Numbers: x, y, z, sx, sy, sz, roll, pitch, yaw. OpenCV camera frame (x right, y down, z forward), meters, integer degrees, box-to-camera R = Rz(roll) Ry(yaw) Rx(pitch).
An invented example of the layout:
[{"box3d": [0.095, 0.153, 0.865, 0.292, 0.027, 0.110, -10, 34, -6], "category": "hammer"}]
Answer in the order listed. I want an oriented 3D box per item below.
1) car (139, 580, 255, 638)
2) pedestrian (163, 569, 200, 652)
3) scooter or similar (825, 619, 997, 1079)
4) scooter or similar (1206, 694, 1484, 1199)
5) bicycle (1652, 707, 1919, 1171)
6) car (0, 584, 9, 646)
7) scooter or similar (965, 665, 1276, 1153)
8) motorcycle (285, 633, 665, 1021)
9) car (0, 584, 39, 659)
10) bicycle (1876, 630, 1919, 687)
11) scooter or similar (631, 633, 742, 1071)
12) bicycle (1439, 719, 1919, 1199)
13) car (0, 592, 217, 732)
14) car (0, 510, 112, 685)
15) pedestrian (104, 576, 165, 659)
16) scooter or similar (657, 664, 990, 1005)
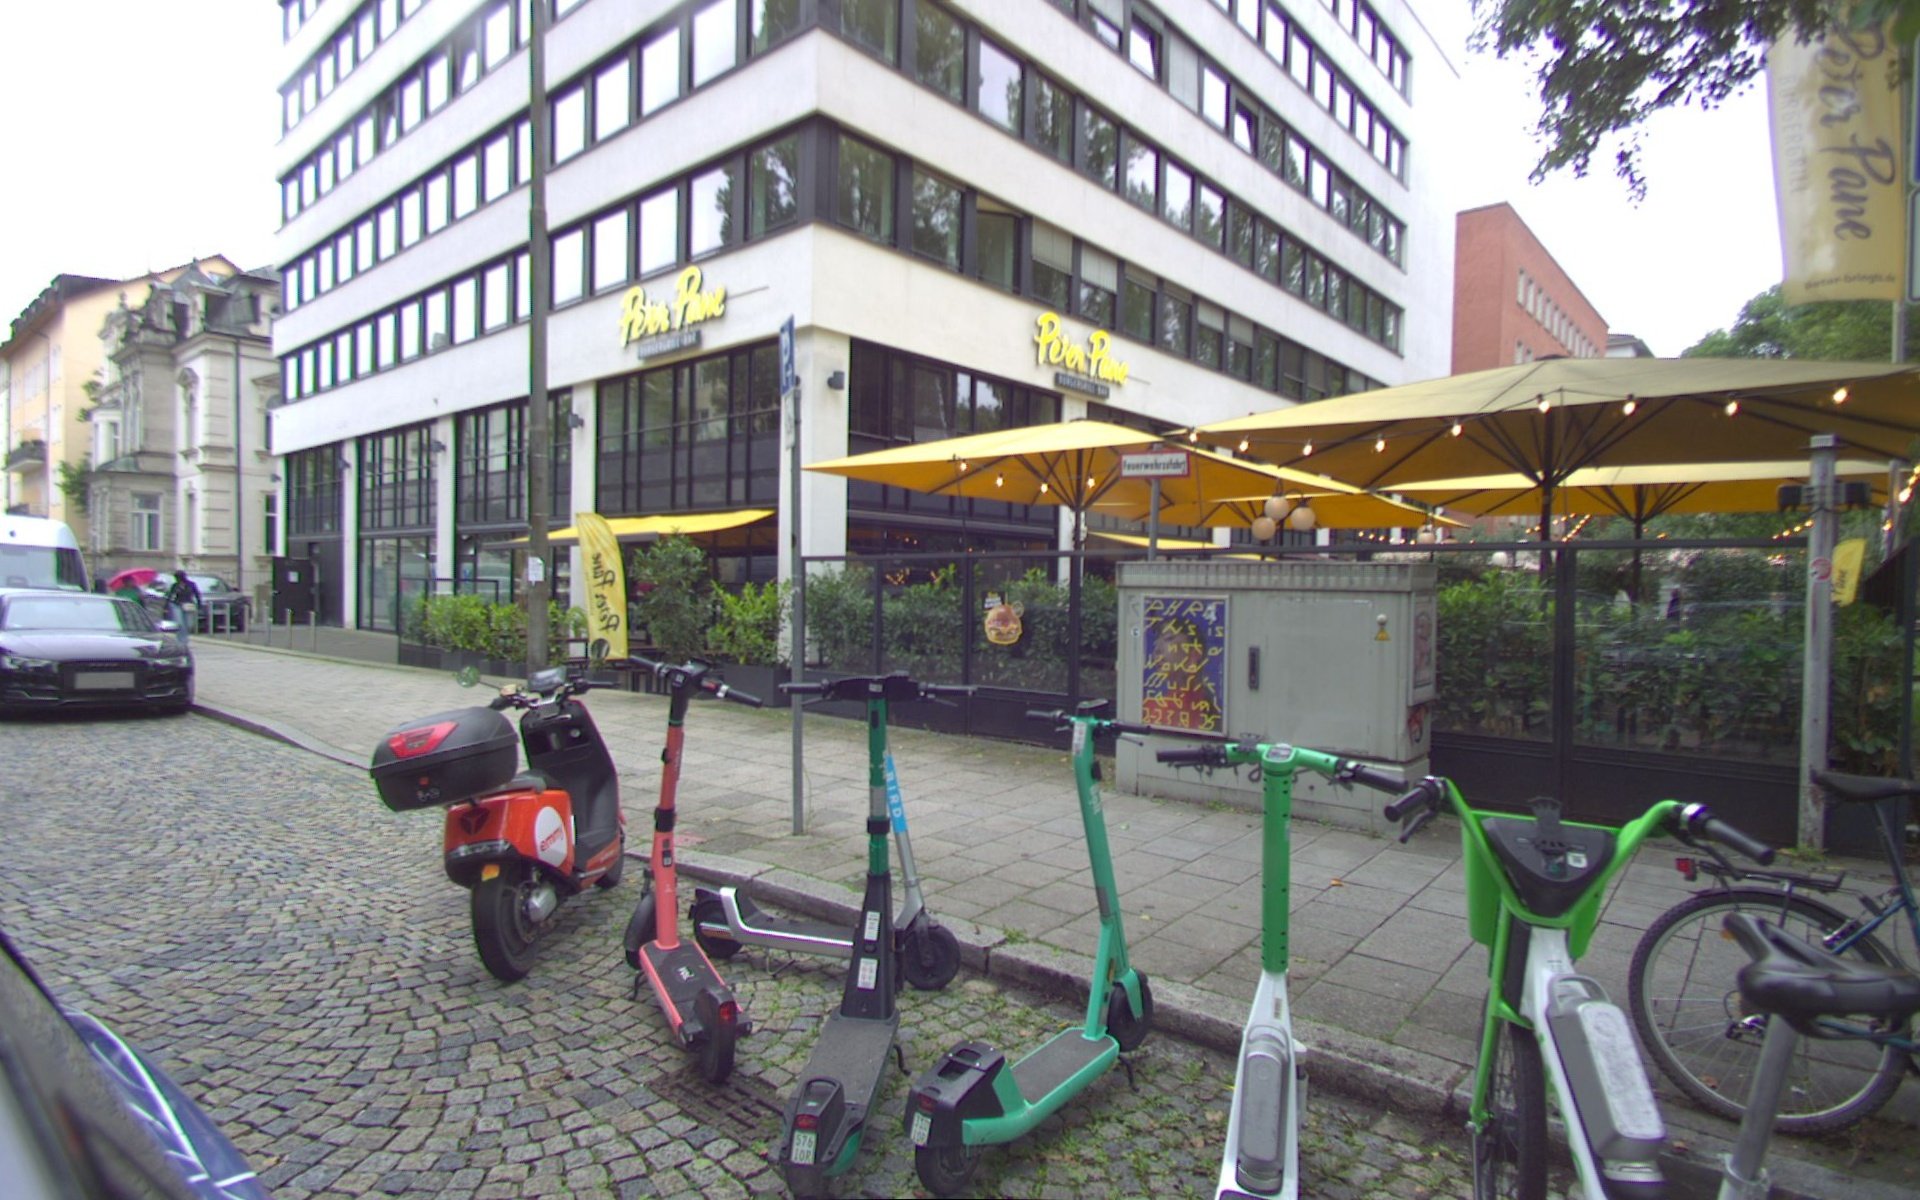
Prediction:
[{"box3d": [-22.218, 0.220, 29.412, 4.168, 1.544, 1.887, 1, 1, 41], "category": "car"}, {"box3d": [-16.892, 0.224, 21.960, 0.567, 1.761, 0.651, 0, 1, -43], "category": "pedestrian"}, {"box3d": [-0.124, 0.728, 3.545, 0.324, 1.282, 1.247, 1, 0, 10], "category": "scooter or similar"}, {"box3d": [0.747, 0.849, 2.133, 0.366, 1.152, 1.422, 1, 1, 17], "category": "scooter or similar"}, {"box3d": [2.760, 0.870, 2.431, 1.761, 1.030, 0.546, 1, 1, 40], "category": "bicycle"}, {"box3d": [-23.940, 0.312, 23.725, 3.997, 1.399, 1.973, 1, 0, 40], "category": "car"}, {"box3d": [0.550, 0.814, 3.119, 0.327, 1.152, 1.234, 1, 1, 41], "category": "scooter or similar"}, {"box3d": [-1.905, 0.793, 4.370, 0.760, 1.205, 1.992, 1, 1, -3], "category": "motorcycle"}, {"box3d": [-20.491, 0.394, 20.819, 4.000, 1.441, 1.972, 1, 0, 43], "category": "car"}, {"box3d": [16.263, 0.983, 16.594, 1.800, 0.919, 0.612, 1, 1, 39], "category": "bicycle"}, {"box3d": [-1.027, 0.799, 3.807, 0.322, 1.282, 1.362, 1, 1, -15], "category": "scooter or similar"}, {"box3d": [1.306, 0.879, 1.566, 0.548, 1.151, 1.757, 1, 1, 10], "category": "bicycle"}, {"box3d": [-10.554, 0.609, 12.031, 4.115, 1.340, 1.972, 1, 0, 42], "category": "car"}, {"box3d": [-15.915, -0.088, 16.628, 5.844, 2.509, 2.039, 1, 0, 40], "category": "car"}, {"box3d": [-17.657, 0.364, 21.646, 0.800, 1.719, 0.916, 1, 1, 43], "category": "pedestrian"}, {"box3d": [-0.526, 0.877, 3.993, 1.237, 1.189, 0.389, 1, 0, 10], "category": "scooter or similar"}]
